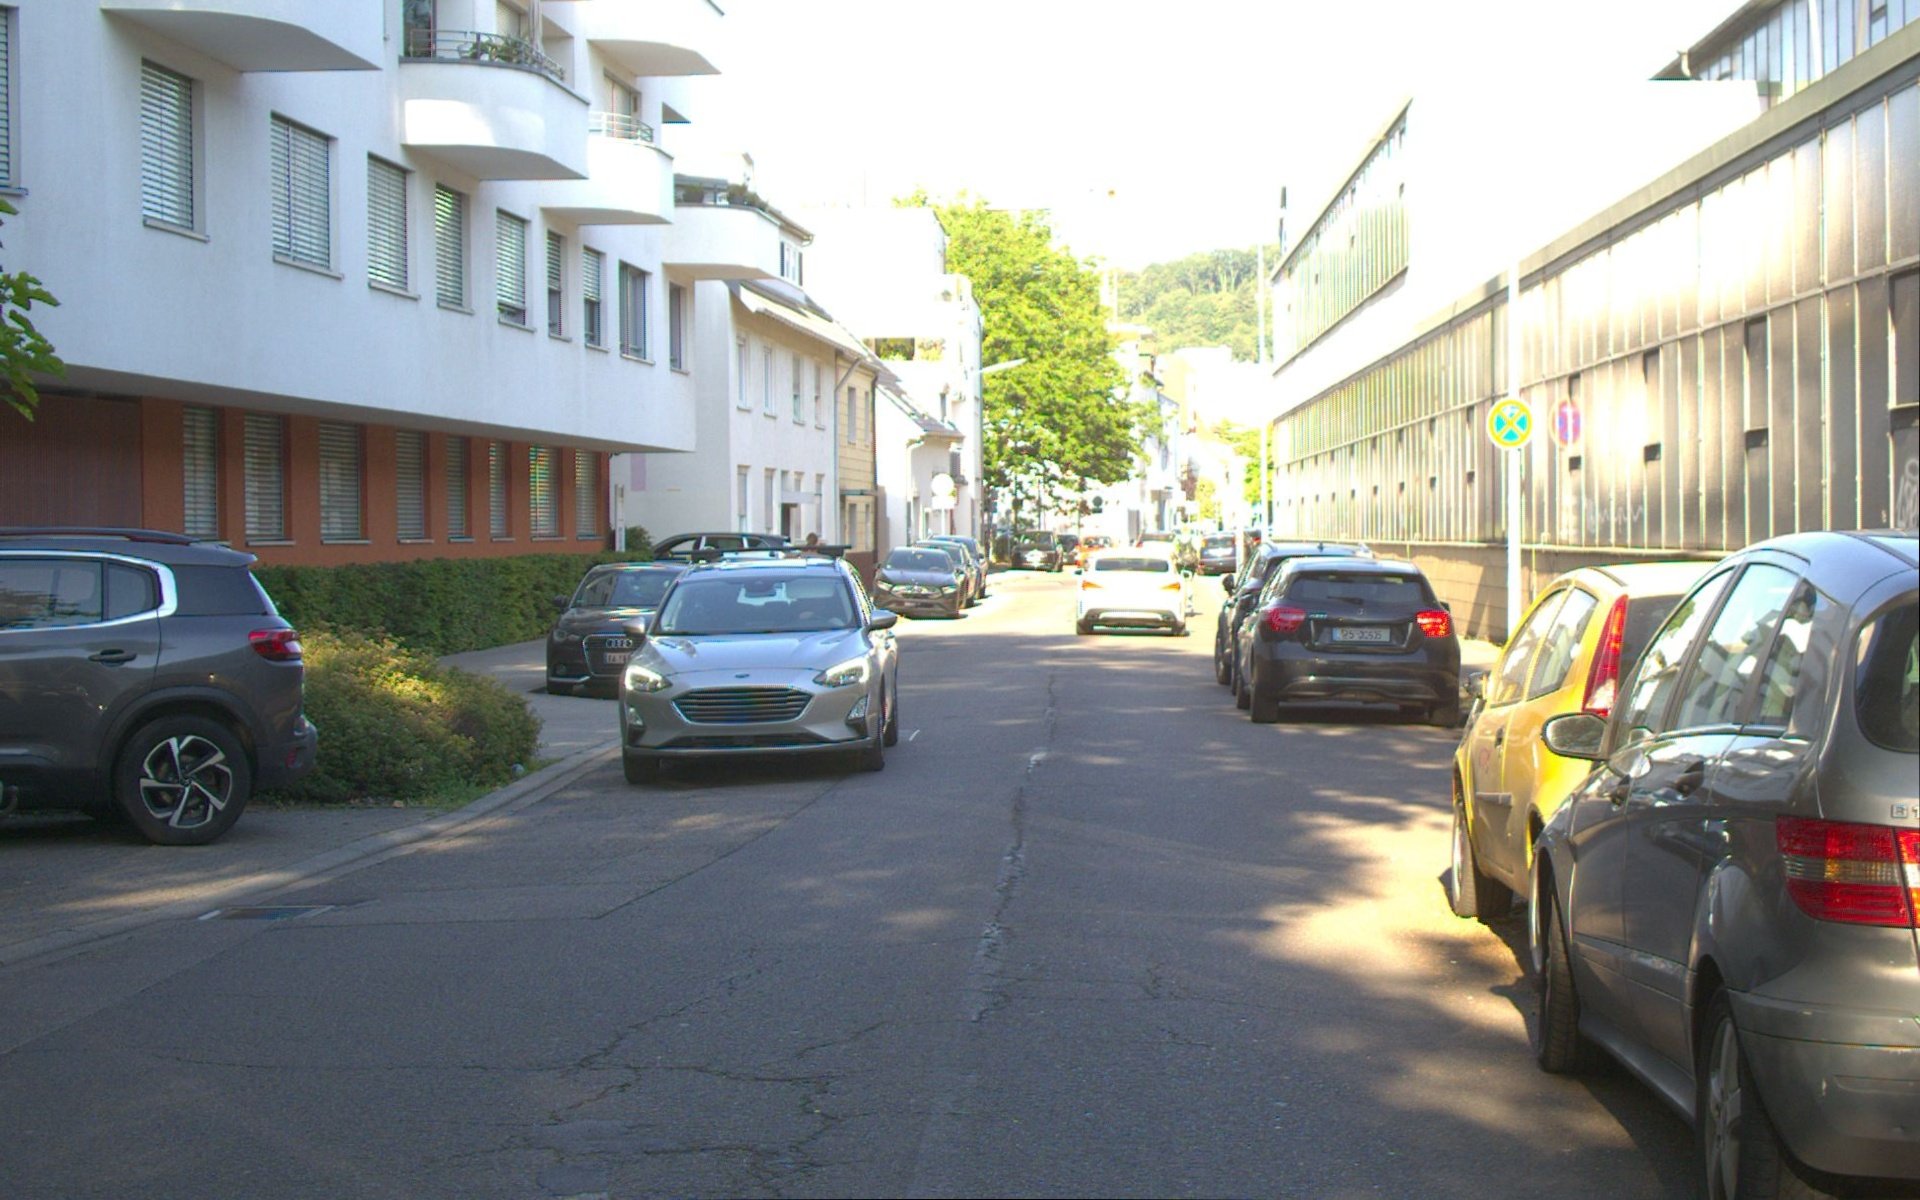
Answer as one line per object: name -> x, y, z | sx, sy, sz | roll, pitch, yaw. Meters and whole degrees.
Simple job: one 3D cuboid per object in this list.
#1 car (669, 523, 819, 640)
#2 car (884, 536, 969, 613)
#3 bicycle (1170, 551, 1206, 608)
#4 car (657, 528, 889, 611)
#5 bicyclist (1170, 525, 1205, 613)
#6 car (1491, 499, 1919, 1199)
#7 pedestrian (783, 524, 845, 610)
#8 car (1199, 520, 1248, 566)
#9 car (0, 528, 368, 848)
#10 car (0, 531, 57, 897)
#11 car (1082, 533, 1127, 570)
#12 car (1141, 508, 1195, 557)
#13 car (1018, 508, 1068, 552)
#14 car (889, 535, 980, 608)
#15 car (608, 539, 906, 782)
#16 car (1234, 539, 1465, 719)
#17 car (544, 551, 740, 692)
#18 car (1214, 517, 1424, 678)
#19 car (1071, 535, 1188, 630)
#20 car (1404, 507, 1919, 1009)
car -> -3.056, -0.289, 49.387 | 1.857, 1.581, 4.622 | 1, 1, 0
car -> -0.692, -0.555, 71.342 | 1.684, 1.530, 4.335 | 1, 1, 0
bicycle -> 4.671, -0.433, 70.341 | 0.698, 1.126, 2.402 | 0, 1, 4
car -> -3.556, -0.592, 65.806 | 4.320, 1.530, 1.690 | 1, 1, 1
bicyclist -> 4.653, -0.642, 70.213 | 0.698, 1.784, 1.040 | 0, 1, 5
car -> 2.484, 0.582, 8.734 | 1.750, 1.629, 4.309 | 0, 1, 2
pedestrian -> -3.172, -0.729, 74.754 | 0.862, 1.812, 1.130 | 3, 2, 27
car -> 9.779, -2.129, 127.880 | 1.629, 1.581, 4.069 | -4, 1, 3
car -> -5.382, 0.453, 18.670 | 3.946, 1.656, 1.700 | -1, 1, -25
car -> -6.313, 0.525, 15.529 | 4.125, 1.634, 1.777 | -1, 1, -21
car -> 6.076, -2.042, 143.839 | 1.842, 1.486, 4.144 | 0, 1, 3
car -> 7.800, -2.563, 129.252 | 1.853, 1.785, 4.607 | -1, 2, 1
car -> 3.539, -2.968, 145.506 | 1.853, 1.785, 4.607 | 0, 2, 5
car -> -0.578, -0.709, 82.258 | 1.858, 1.581, 4.335 | 1, 2, 4
car -> -1.377, 0.358, 25.038 | 1.899, 1.531, 4.622 | -2, 1, -1
car -> 3.444, 0.203, 31.084 | 1.750, 1.486, 4.621 | 1, 1, 3
car -> -3.411, 0.197, 37.498 | 1.674, 1.428, 3.770 | 1, 1, 2
car -> 3.728, -0.060, 36.338 | 1.807, 1.581, 4.405 | 1, 1, 1
car -> 2.773, -0.314, 56.576 | 1.842, 1.486, 4.144 | 0, 1, 2
car -> 2.844, 0.481, 13.217 | 1.750, 1.629, 4.002 | 0, 1, 0
